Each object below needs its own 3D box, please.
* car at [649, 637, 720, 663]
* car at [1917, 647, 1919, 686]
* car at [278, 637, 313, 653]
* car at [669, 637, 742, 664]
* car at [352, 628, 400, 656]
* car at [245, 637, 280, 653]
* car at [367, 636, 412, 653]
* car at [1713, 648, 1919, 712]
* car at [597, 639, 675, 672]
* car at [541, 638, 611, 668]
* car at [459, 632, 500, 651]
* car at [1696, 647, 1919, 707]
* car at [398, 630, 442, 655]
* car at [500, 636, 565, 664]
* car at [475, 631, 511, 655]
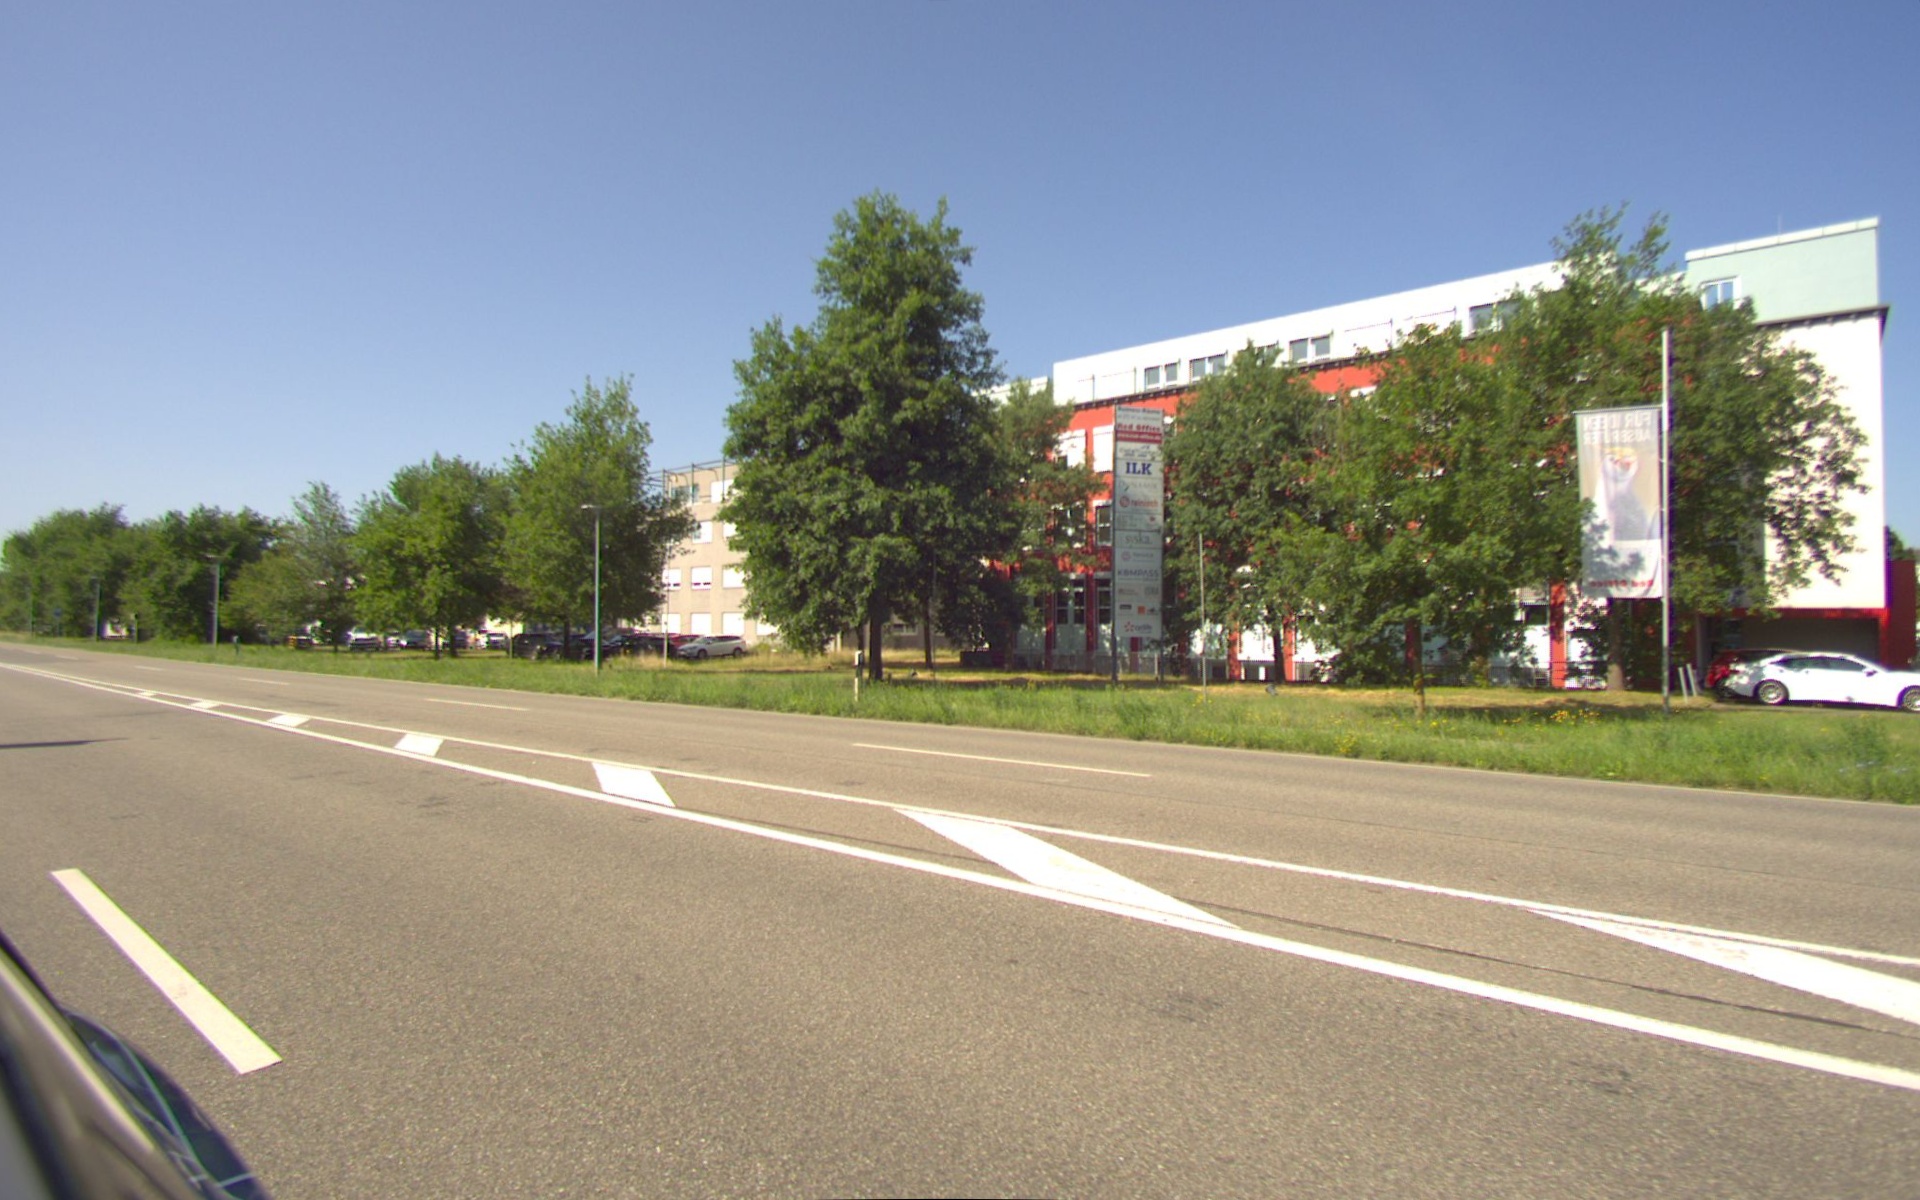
[{"bbox_3d":[-17.051,3.052,62.762,1.741,1.548,3.946,-2,-3,40],"label":"car"},{"bbox_3d":[33.722,2.301,34.409,1.503,1.364,3.946,-2,-3,40],"label":"car"},{"bbox_3d":[-60.587,4.081,92.200,3.998,1.360,1.654,-2,-3,41],"label":"car"},{"bbox_3d":[-15.346,3.030,61.181,1.741,1.598,4.093,-2,-3,40],"label":"car"},{"bbox_3d":[-42.534,3.006,73.805,2.038,1.944,5.031,1,-2,-18],"label":"car"},{"bbox_3d":[-61.952,4.009,89.871,3.998,1.360,1.654,-2,-3,41],"label":"car"},{"bbox_3d":[-47.175,3.665,83.648,4.189,1.404,1.909,-1,-2,40],"label":"car"},{"bbox_3d":[22.329,1.981,25.698,4.954,1.448,1.972,-2,-3,43],"label":"car"},{"bbox_3d":[-16.641,2.835,51.902,4.546,1.590,1.724,-2,-3,42],"label":"car"},{"bbox_3d":[-21.333,2.893,56.149,4.546,1.590,1.724,-2,-3,42],"label":"car"},{"bbox_3d":[-43.185,3.706,90.870,4.167,1.670,1.837,-2,-2,41],"label":"car"},{"bbox_3d":[23.578,2.070,28.036,4.954,1.448,1.972,-2,-3,43],"label":"car"},{"bbox_3d":[-40.568,3.144,76.096,2.038,1.820,5.031,1,-2,-18],"label":"car"},{"bbox_3d":[-25.072,2.898,59.294,4.546,1.590,1.724,-2,-3,42],"label":"car"},{"bbox_3d":[-37.298,3.395,80.986,2.038,1.820,5.031,1,-2,-18],"label":"car"}]
